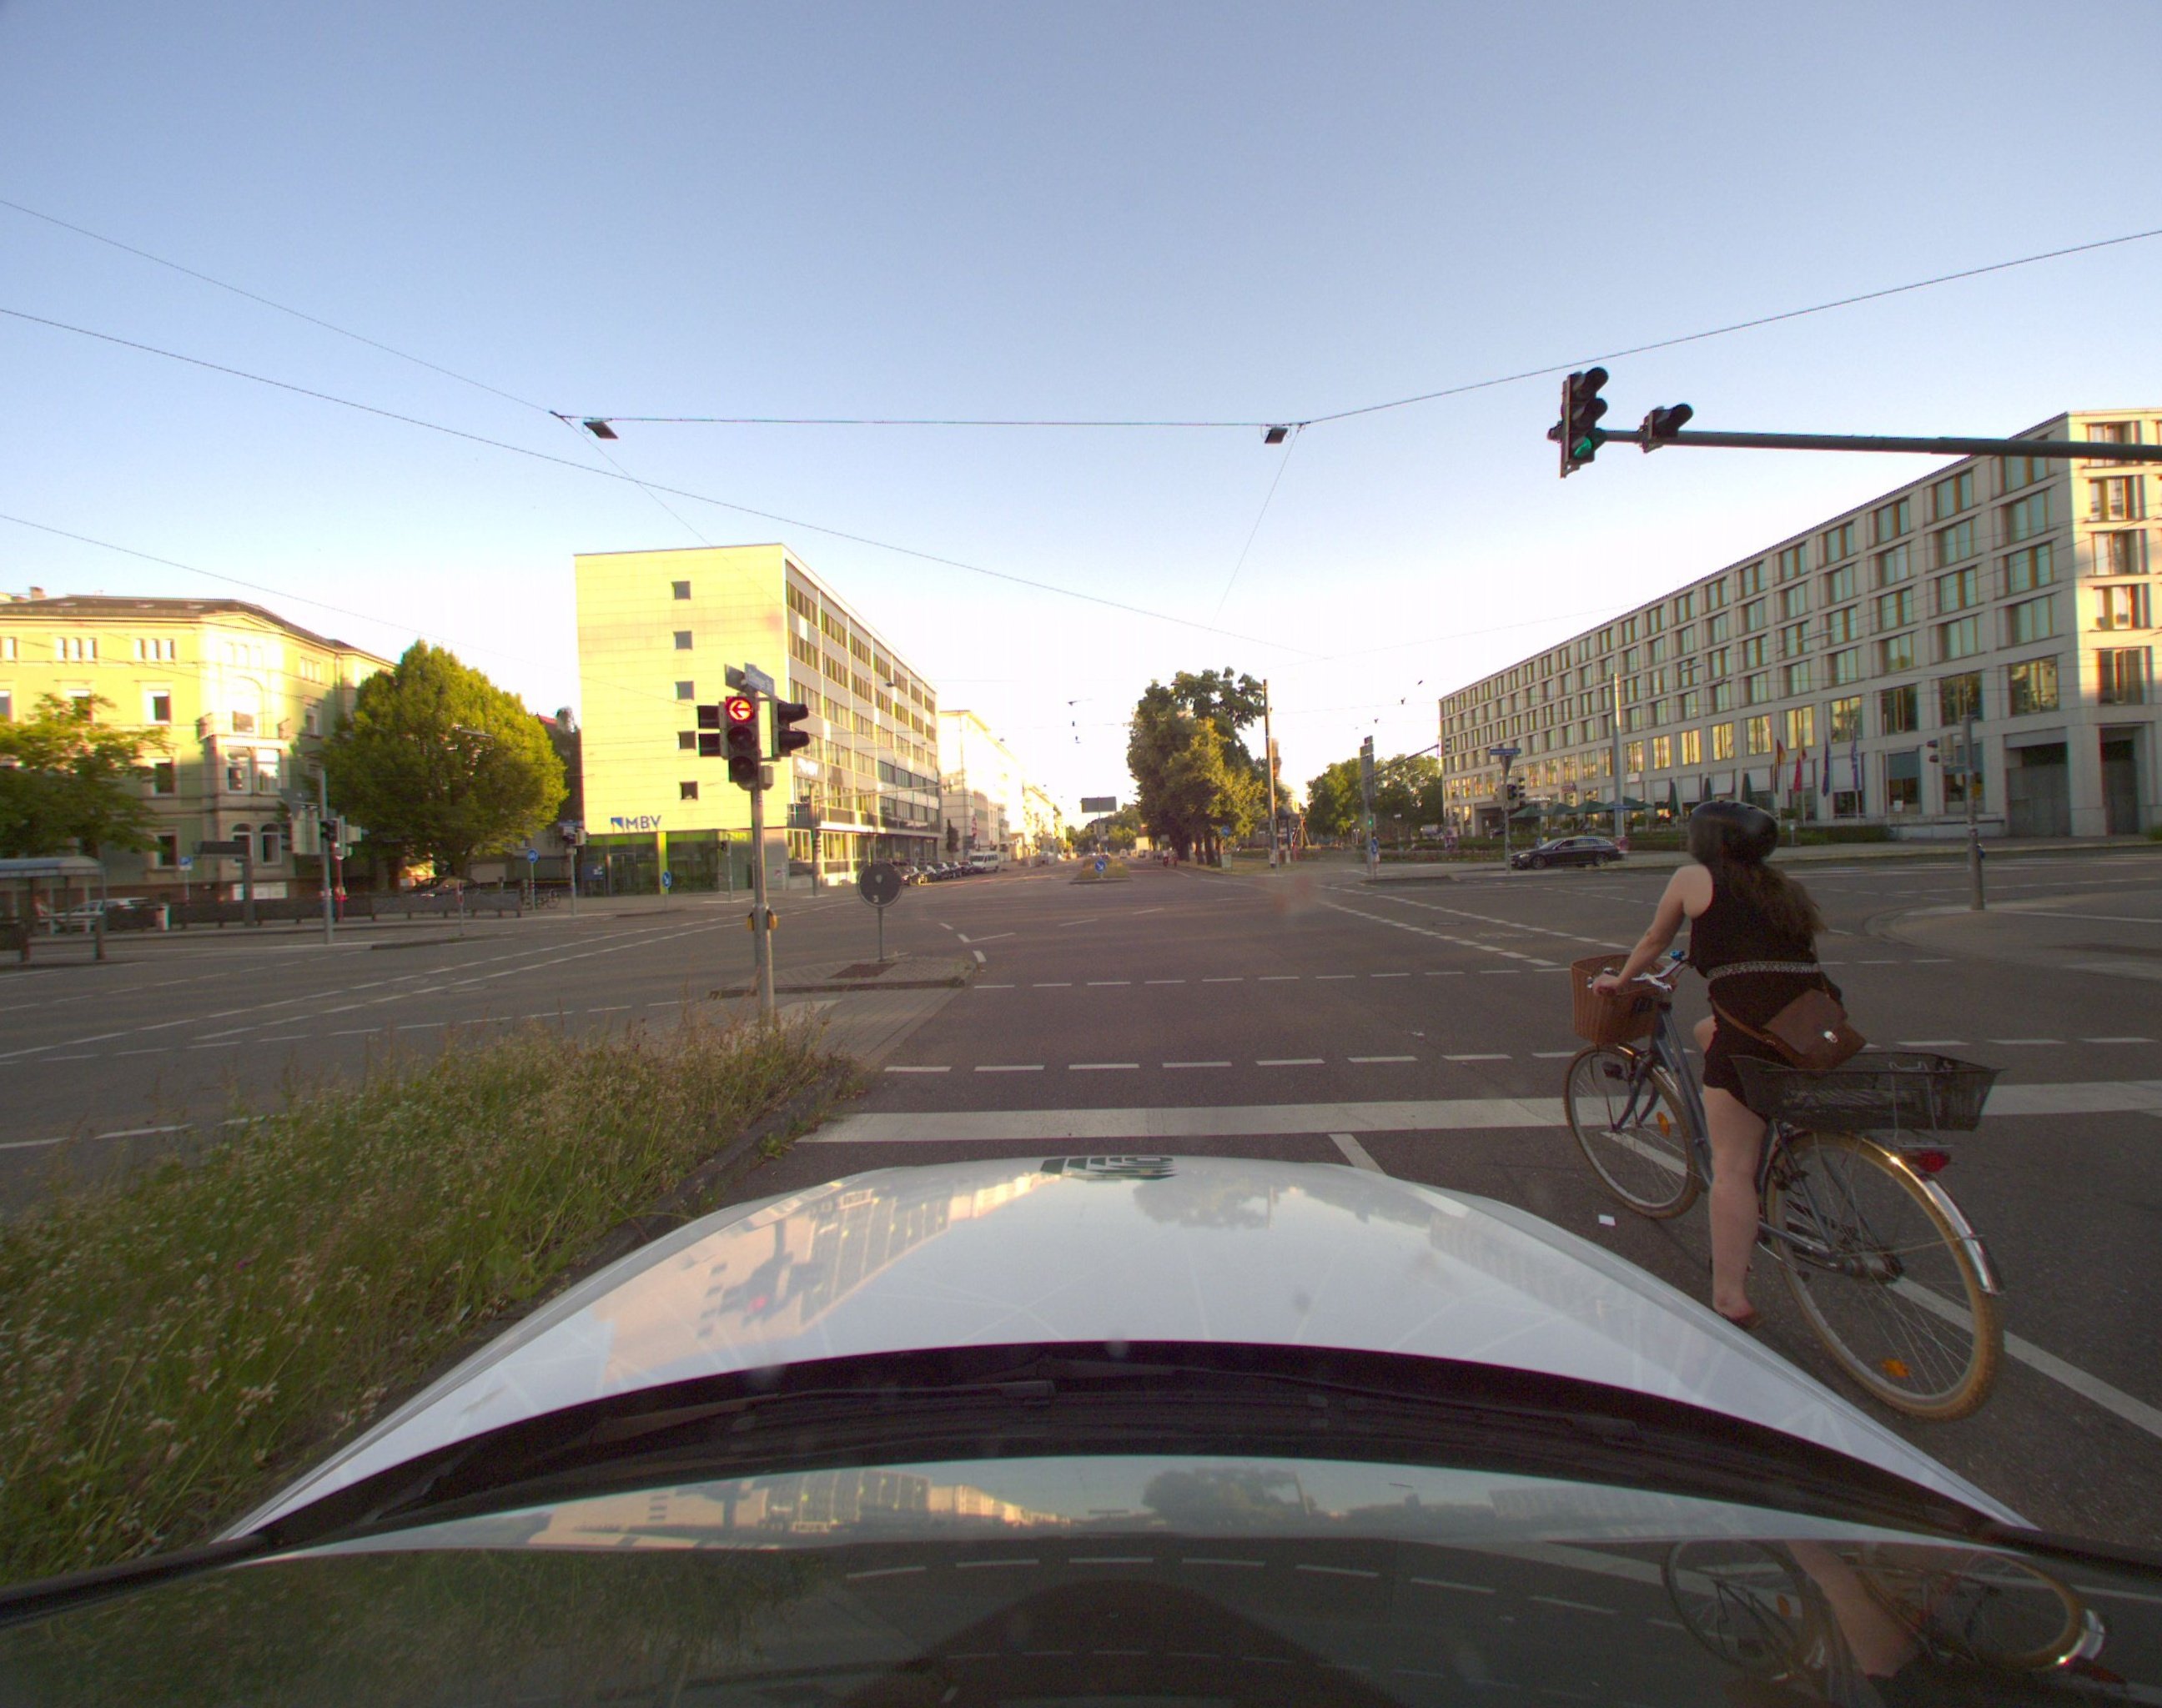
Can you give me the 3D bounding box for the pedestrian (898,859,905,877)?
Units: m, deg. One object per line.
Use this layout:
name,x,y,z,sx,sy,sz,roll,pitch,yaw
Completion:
pedestrian,-17.051,1.339,77.390,0.498,1.679,0.500,-3,0,1

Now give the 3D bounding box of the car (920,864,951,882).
car,-13.100,1.683,73.721,1.913,1.464,4.002,-3,0,2

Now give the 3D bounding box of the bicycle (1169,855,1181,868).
bicycle,8.336,0.662,72.247,0.744,1.144,2.506,-3,0,2

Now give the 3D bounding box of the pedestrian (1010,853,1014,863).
pedestrian,-14.046,0.730,165.579,0.677,2.013,0.545,-3,0,1

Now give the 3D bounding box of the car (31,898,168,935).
car,-45.263,2.847,37.662,3.588,1.372,1.833,-3,0,-15

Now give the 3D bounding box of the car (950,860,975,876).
car,-12.380,1.445,85.245,1.913,1.568,4.002,-3,0,2

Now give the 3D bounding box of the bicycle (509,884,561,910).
bicycle,-26.771,2.104,39.968,0.832,1.112,2.216,-3,0,6

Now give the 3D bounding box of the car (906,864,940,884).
car,-13.308,1.645,68.908,1.913,1.464,4.002,-3,0,2

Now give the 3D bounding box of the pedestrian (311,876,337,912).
pedestrian,-39.219,2.047,42.191,0.641,1.790,0.720,-3,0,-12

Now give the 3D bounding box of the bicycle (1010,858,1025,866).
bicycle,-10.099,1.260,129.330,2.198,1.236,0.839,-3,0,0

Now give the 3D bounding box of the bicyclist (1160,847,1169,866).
bicyclist,7.423,0.246,72.413,0.744,1.663,0.873,-3,0,1

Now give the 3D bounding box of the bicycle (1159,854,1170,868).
bicycle,7.450,0.596,72.653,0.744,1.144,2.506,-3,0,2

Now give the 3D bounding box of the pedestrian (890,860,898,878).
pedestrian,-17.675,1.374,77.036,0.549,1.679,0.500,-3,0,1

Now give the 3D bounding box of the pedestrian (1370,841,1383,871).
pedestrian,15.741,0.105,43.336,0.489,1.540,0.408,-3,0,1

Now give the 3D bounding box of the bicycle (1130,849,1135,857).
bicycle,13.102,-0.304,207.888,0.997,2.013,4.007,-3,0,6

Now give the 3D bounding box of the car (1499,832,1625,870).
car,23.082,-0.142,39.223,4.803,1.515,2.002,-3,0,4

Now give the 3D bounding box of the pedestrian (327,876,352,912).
pedestrian,-39.131,2.103,42.981,0.641,1.790,0.720,-3,0,-12

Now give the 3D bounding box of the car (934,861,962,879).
car,-12.848,1.573,79.022,1.913,1.568,4.002,-3,0,2

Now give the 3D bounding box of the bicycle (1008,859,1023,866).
bicycle,-10.081,1.319,125.989,2.198,1.112,0.619,-3,0,0

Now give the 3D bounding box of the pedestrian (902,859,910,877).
pedestrian,-16.466,1.299,76.723,0.549,1.679,0.500,-3,0,1

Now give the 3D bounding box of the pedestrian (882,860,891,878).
pedestrian,-18.333,1.377,76.761,0.549,1.679,0.500,-3,0,1

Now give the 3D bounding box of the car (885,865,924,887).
car,-13.504,1.659,62.411,1.913,1.464,4.105,-3,0,2

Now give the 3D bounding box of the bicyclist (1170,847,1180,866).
bicyclist,8.316,0.238,72.355,0.744,1.691,0.799,-3,0,1

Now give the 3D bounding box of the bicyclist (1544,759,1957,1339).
bicyclist,2.180,0.551,2.806,0.597,1.636,0.999,-1,0,2

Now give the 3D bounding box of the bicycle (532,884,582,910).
bicycle,-25.570,2.081,39.783,0.832,1.112,2.216,-3,0,6

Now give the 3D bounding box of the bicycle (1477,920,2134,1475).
bicycle,2.185,0.890,2.914,0.609,1.132,2.005,-1,0,2

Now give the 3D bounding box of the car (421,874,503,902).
car,-35.008,1.911,46.187,1.830,1.372,3.594,-3,0,0

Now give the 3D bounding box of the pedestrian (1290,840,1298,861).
pedestrian,17.703,-0.284,67.578,0.458,1.656,0.567,-3,0,1

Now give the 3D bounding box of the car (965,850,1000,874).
car,-11.053,0.865,91.680,1.988,2.478,5.888,-3,0,12

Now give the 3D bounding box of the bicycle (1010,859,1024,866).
bicycle,-9.999,1.317,127.469,2.198,1.112,0.689,-3,0,0

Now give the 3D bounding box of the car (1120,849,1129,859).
car,8.144,-0.001,153.553,1.403,1.641,4.000,-3,0,1
